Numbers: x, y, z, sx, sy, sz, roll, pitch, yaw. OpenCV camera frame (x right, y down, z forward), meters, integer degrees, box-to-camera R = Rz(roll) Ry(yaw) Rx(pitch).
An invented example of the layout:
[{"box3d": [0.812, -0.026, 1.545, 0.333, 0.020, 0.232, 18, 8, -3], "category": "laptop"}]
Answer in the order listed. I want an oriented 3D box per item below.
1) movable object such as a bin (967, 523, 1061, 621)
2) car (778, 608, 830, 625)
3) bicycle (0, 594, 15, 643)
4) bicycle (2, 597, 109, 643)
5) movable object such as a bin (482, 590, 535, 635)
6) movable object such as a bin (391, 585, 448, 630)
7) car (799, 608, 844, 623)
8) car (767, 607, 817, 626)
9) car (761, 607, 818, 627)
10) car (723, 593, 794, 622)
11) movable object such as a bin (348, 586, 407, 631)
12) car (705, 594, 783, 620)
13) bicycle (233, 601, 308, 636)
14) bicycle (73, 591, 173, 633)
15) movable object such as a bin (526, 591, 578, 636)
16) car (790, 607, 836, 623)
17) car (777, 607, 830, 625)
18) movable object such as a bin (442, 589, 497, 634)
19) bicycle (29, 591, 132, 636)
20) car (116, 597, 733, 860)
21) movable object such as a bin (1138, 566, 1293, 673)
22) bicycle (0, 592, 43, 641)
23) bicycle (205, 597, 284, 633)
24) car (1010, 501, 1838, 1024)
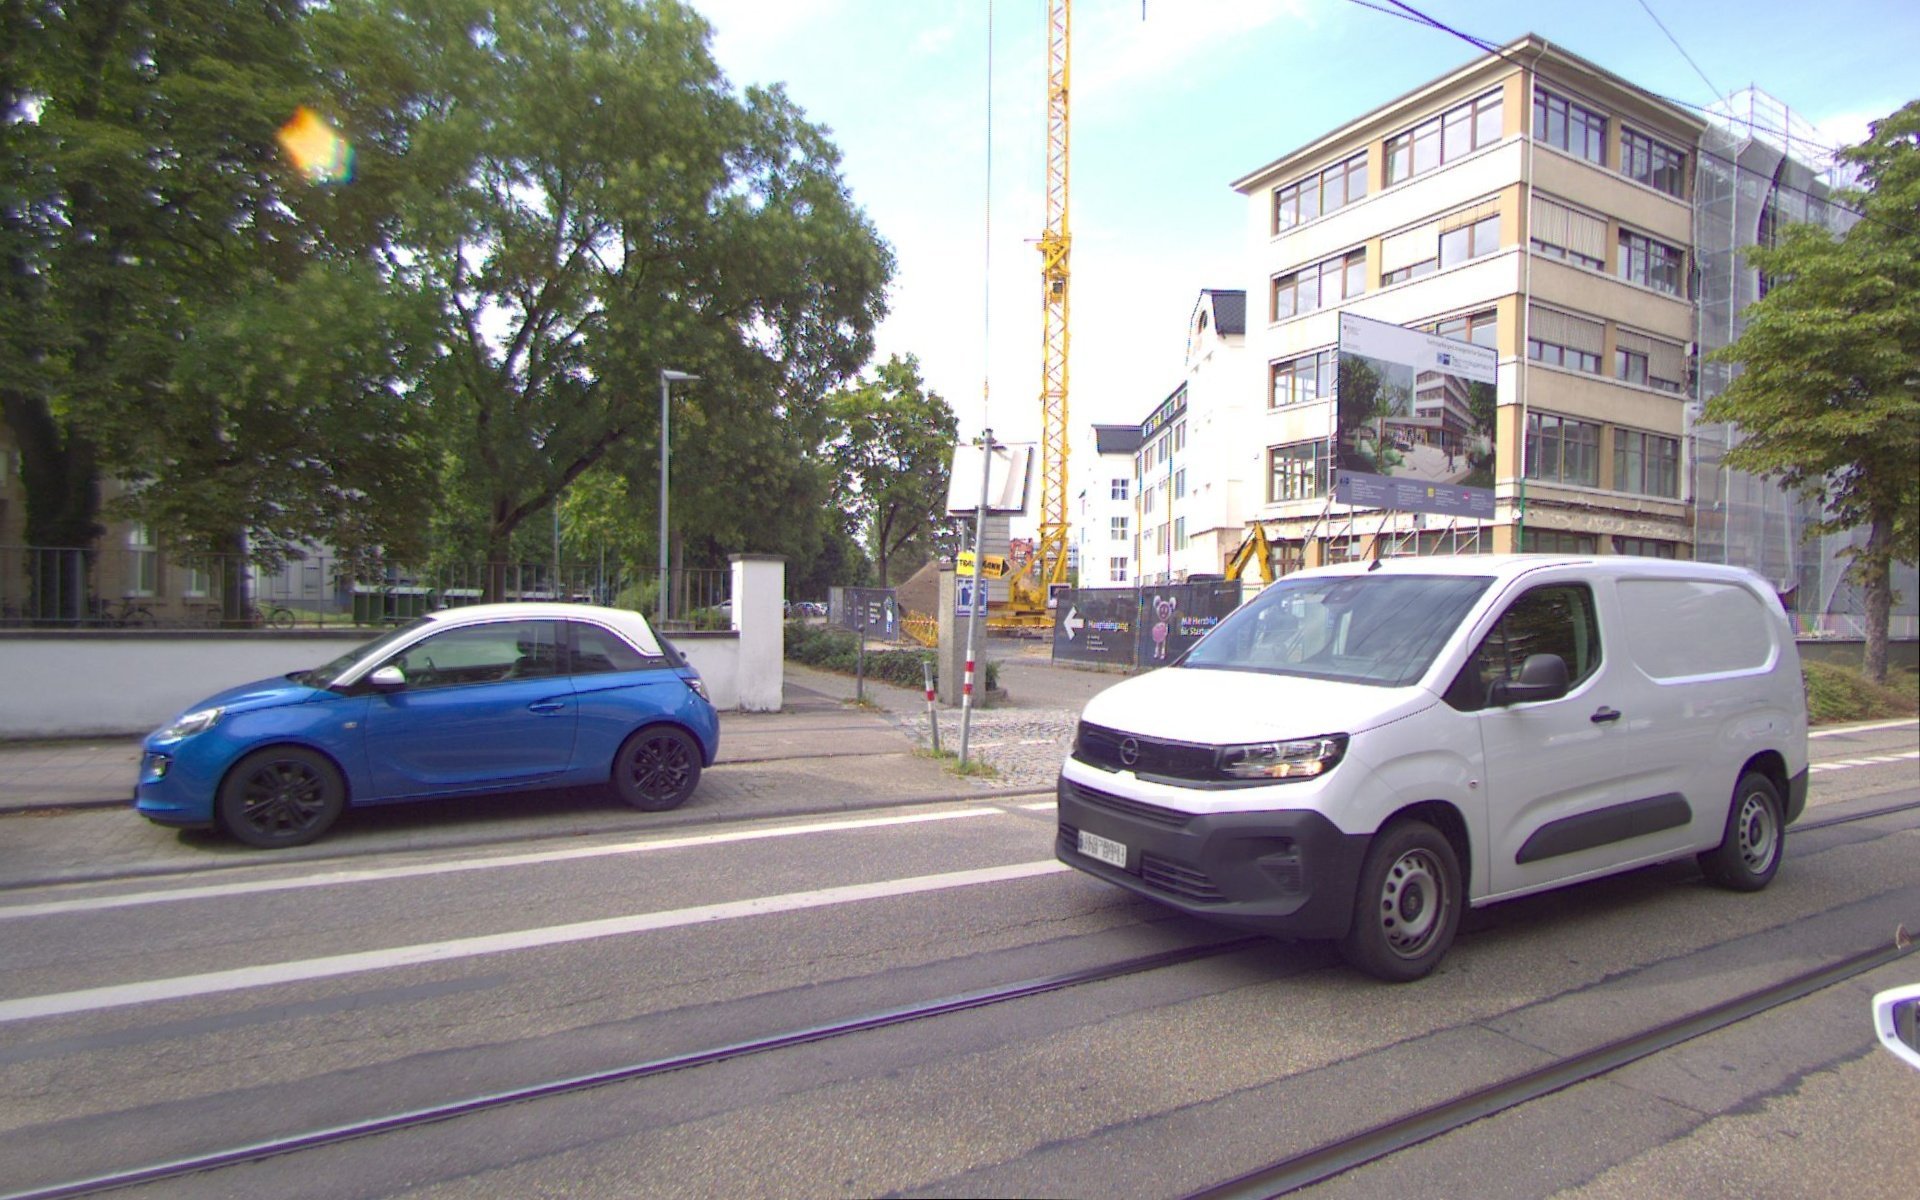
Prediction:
[{"box3d": [4.256, -1.871, 75.042, 3.781, 6.758, 10.988, 2, 0, 20], "category": "movable object such as a bin"}, {"box3d": [-14.692, 1.535, 94.808, 4.719, 1.508, 1.998, 2, 0, -8], "category": "car"}, {"box3d": [-21.838, 0.378, 21.824, 1.940, 1.057, 0.594, 1, 1, -4], "category": "bicycle"}, {"box3d": [-21.864, 0.473, 24.306, 1.940, 1.057, 0.594, 1, 1, -4], "category": "bicycle"}, {"box3d": [-15.104, 0.421, 33.640, 1.259, 1.449, 1.122, 2, 0, -2], "category": "movable object such as a bin"}, {"box3d": [-18.015, 0.241, 33.514, 1.259, 1.449, 1.122, 2, 0, -2], "category": "movable object such as a bin"}, {"box3d": [-15.021, 1.642, 108.892, 4.719, 1.508, 1.998, 2, 0, -8], "category": "car"}, {"box3d": [-14.781, 1.470, 88.661, 4.268, 1.564, 1.751, 2, 0, -8], "category": "car"}, {"box3d": [-14.535, 1.440, 85.996, 4.719, 1.508, 1.998, 2, 0, -8], "category": "car"}, {"box3d": [-15.179, 0.568, 75.897, 4.965, 1.979, 1.999, 2, 0, -4], "category": "car"}, {"box3d": [-19.378, 0.290, 33.450, 1.259, 1.449, 1.122, 2, 0, -2], "category": "movable object such as a bin"}, {"box3d": [-13.829, 0.449, 64.605, 4.719, 1.508, 1.998, 2, 0, -8], "category": "car"}, {"box3d": [-22.205, 0.593, 32.360, 1.940, 1.057, 0.594, 1, 1, -4], "category": "bicycle"}, {"box3d": [-22.350, 0.324, 26.868, 1.953, 1.057, 0.590, 1, 1, -28], "category": "bicycle"}, {"box3d": [-13.586, 0.456, 33.475, 1.259, 1.449, 1.122, 2, 0, -2], "category": "movable object such as a bin"}, {"box3d": [-15.501, 1.559, 105.881, 4.719, 1.508, 1.998, 2, 0, -8], "category": "car"}, {"box3d": [-14.307, 1.476, 91.982, 4.719, 1.508, 1.998, 2, 0, -8], "category": "car"}, {"box3d": [-16.443, 0.381, 33.713, 1.259, 1.449, 1.122, 2, 0, -2], "category": "movable object such as a bin"}, {"box3d": [-21.949, 0.326, 25.086, 1.940, 1.057, 0.594, 1, 1, -4], "category": "bicycle"}, {"box3d": [-3.642, 0.756, 7.311, 3.560, 1.484, 1.620, 1, 0, -30], "category": "car"}, {"box3d": [6.278, 0.479, 24.993, 2.459, 2.475, 3.048, 2, 0, -19], "category": "movable object such as a bin"}, {"box3d": [-21.921, 0.349, 22.604, 1.940, 1.057, 0.594, 1, 1, -4], "category": "bicycle"}, {"box3d": [-22.084, 0.463, 31.004, 1.940, 1.057, 0.594, 1, 1, -4], "category": "bicycle"}, {"box3d": [2.703, 0.606, 5.500, 4.623, 1.848, 1.786, 1, 0, -30], "category": "car"}]
